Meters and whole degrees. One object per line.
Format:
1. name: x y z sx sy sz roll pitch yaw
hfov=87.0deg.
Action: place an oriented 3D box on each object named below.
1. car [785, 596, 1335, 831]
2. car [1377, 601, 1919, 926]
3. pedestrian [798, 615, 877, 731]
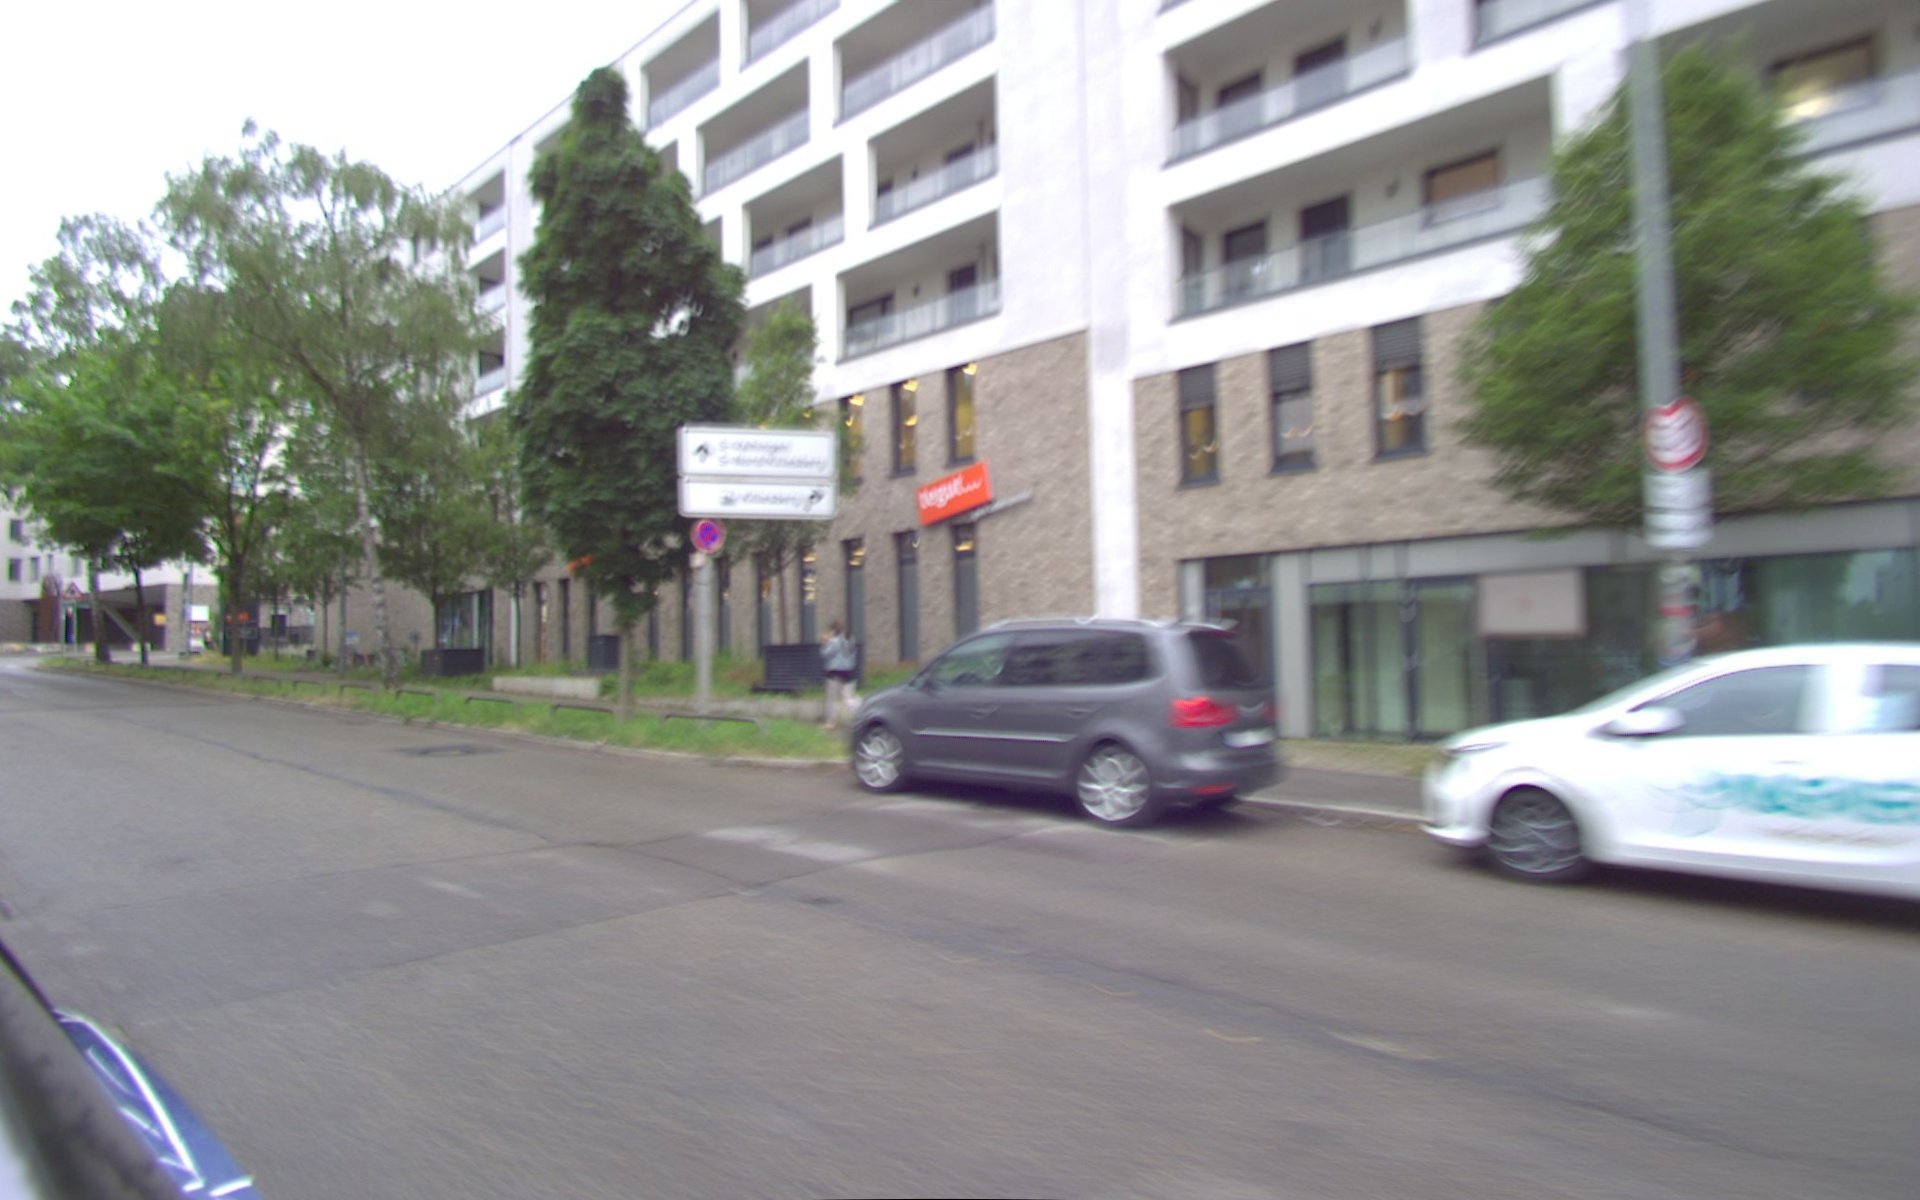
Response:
1. car: 0.725 0.908 9.303 4.680 1.621 2.057 -3 -4 39
2. car: 4.882 0.846 6.093 4.028 1.613 1.755 -3 -3 40
3. pedestrian: -1.862 1.096 15.389 0.955 1.696 0.702 -3 -3 36
